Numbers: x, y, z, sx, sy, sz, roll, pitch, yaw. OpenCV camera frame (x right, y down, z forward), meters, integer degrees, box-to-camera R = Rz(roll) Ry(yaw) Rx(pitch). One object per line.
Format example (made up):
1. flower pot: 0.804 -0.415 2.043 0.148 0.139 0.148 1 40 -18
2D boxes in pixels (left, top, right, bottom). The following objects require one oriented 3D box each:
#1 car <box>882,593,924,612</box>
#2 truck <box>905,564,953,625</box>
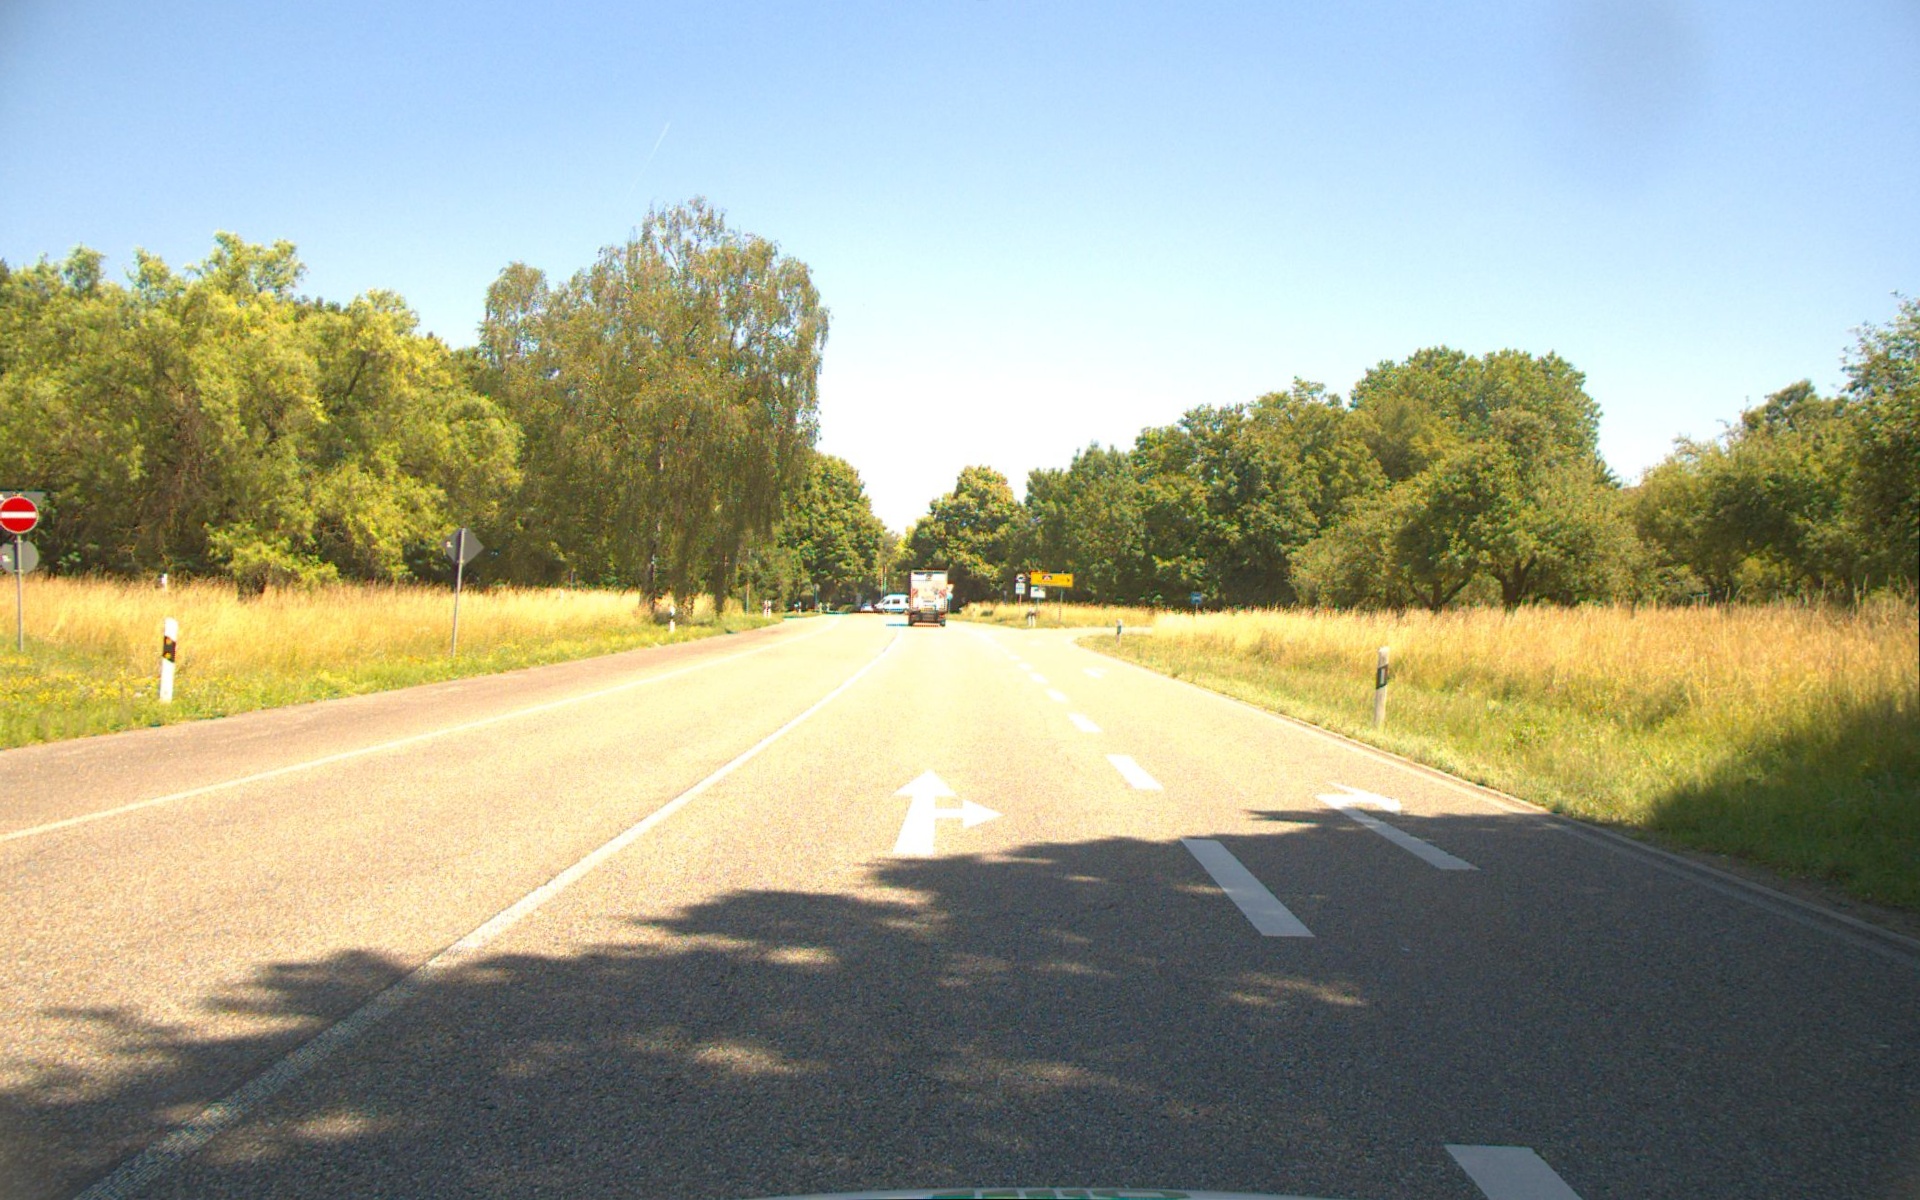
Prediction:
1. car: -8.572 0.416 248.753 2.046 2.673 6.734 0 -1 45
2. truck: -1.657 -0.310 91.694 2.482 3.190 5.361 1 0 0
